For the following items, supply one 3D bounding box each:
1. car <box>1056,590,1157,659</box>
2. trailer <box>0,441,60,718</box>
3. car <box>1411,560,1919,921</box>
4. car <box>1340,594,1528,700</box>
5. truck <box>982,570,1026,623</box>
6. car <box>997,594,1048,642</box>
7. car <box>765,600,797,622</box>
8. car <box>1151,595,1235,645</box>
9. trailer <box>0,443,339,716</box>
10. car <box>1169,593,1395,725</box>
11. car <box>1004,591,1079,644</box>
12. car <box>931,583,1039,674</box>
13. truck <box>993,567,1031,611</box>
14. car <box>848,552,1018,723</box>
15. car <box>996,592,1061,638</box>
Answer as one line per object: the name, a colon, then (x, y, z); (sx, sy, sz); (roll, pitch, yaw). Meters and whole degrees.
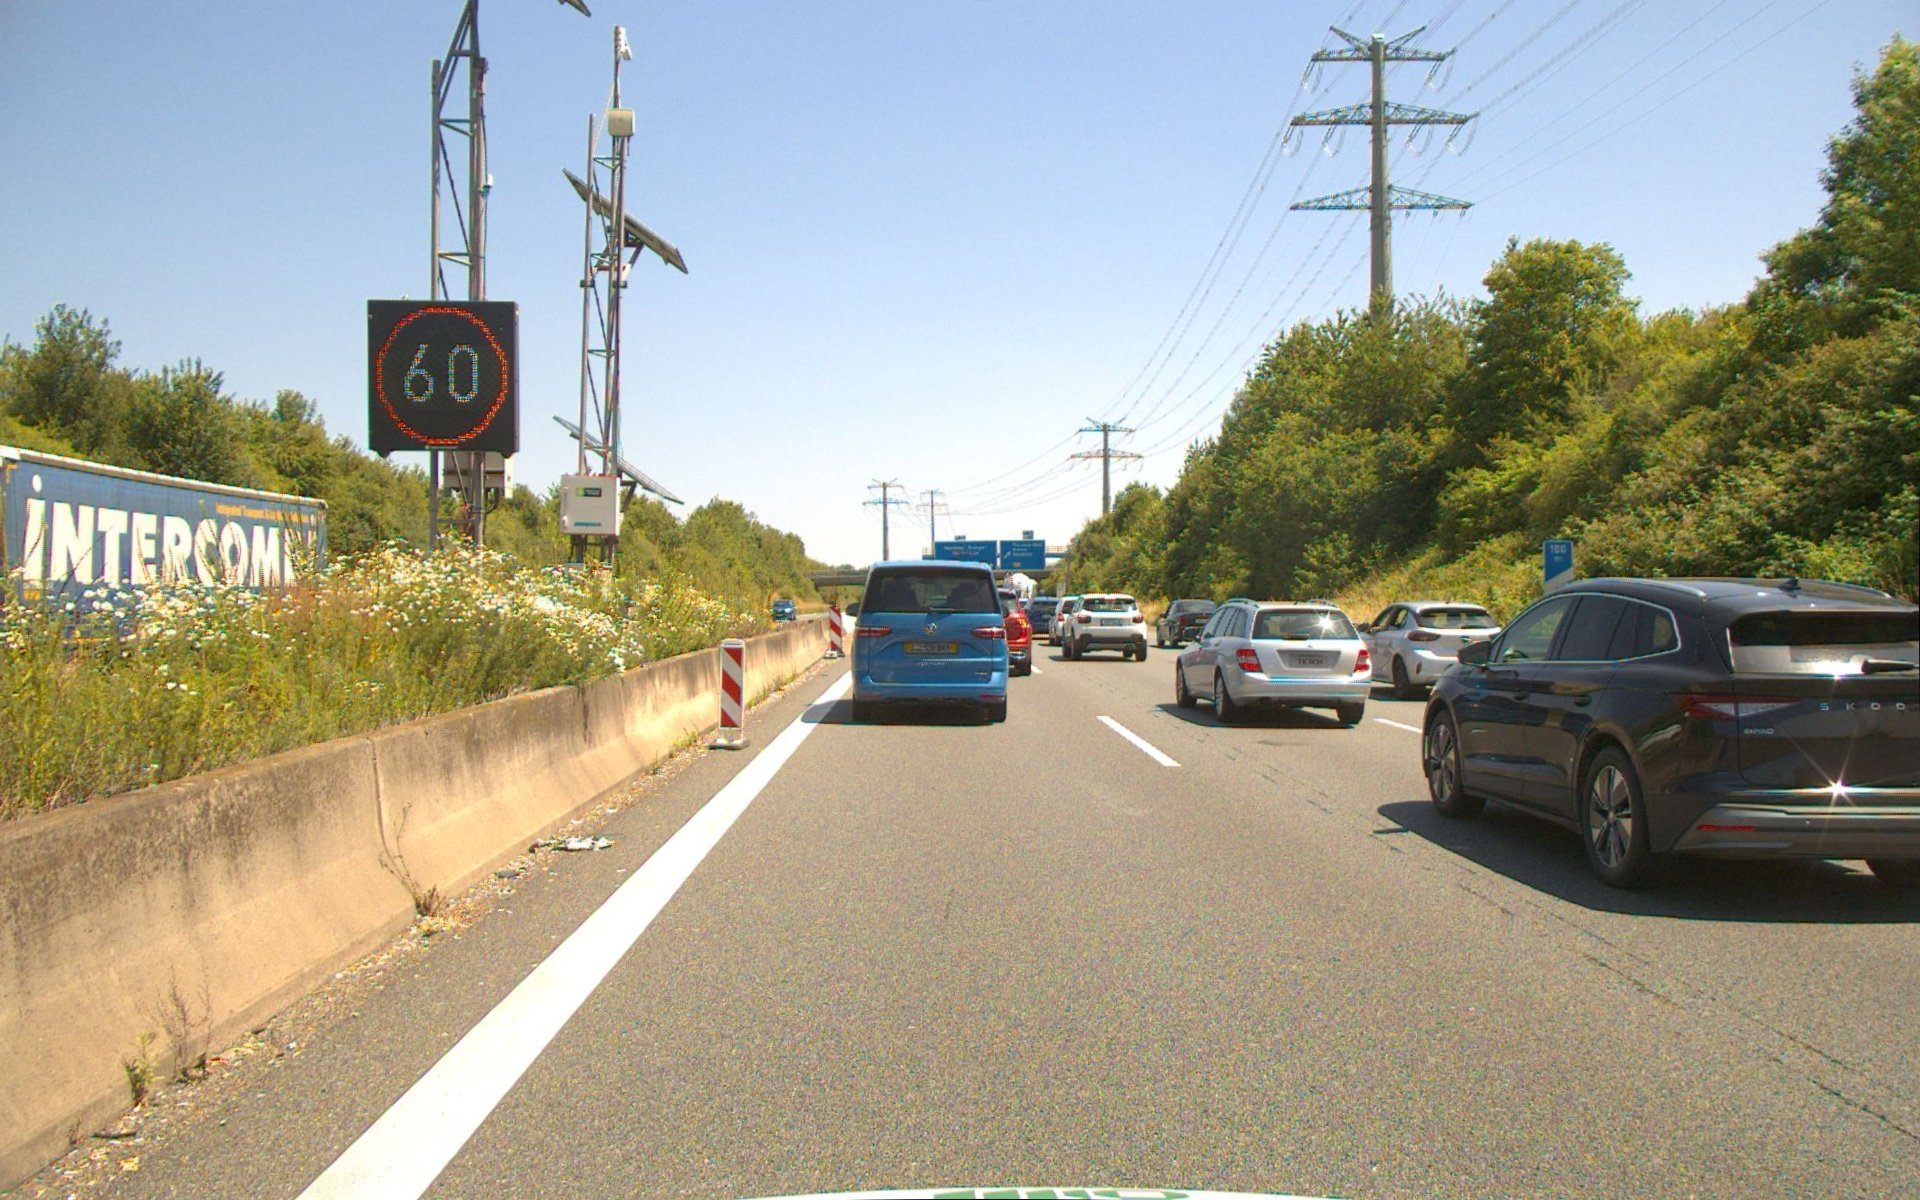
car: (3.459, 0.548, 39.737); (1.870, 1.534, 3.919); (1, 0, -3)
trailer: (-15.719, -0.252, 23.430); (2.901, 4.127, 5.432); (-2, 0, -1)
car: (4.243, 0.644, 9.785); (1.791, 1.643, 4.429); (1, 0, -2)
car: (7.358, 0.676, 26.050); (1.706, 1.496, 4.013); (1, 0, -2)
truck: (2.382, -0.205, 90.891); (1.953, 2.771, 5.677); (1, 0, -2)
car: (2.743, 0.778, 73.171); (1.953, 2.049, 3.999); (1, 0, -2)
car: (-13.320, 0.781, 123.129); (1.953, 1.573, 4.911); (-1, 0, -1)
car: (6.966, 0.579, 49.784); (1.700, 1.402, 4.299); (1, 0, -3)
trailer: (-15.899, -0.285, 31.831); (2.901, 4.127, 13.592); (-2, 0, -1)
car: (3.938, 0.665, 20.993); (1.785, 1.462, 4.381); (1, 0, -3)
car: (2.496, 0.511, 51.449); (1.870, 1.542, 4.381); (1, 0, -3)
car: (0.420, 0.519, 32.481); (1.870, 1.659, 4.381); (0, 0, -2)
truck: (5.096, -1.079, 165.000); (2.591, 4.143, 16.433); (1, 0, -2)
car: (-0.453, 0.423, 21.039); (1.834, 1.912, 4.379); (1, 0, -5)
car: (2.395, 0.519, 58.897); (1.870, 1.542, 4.381); (1, 0, -3)
